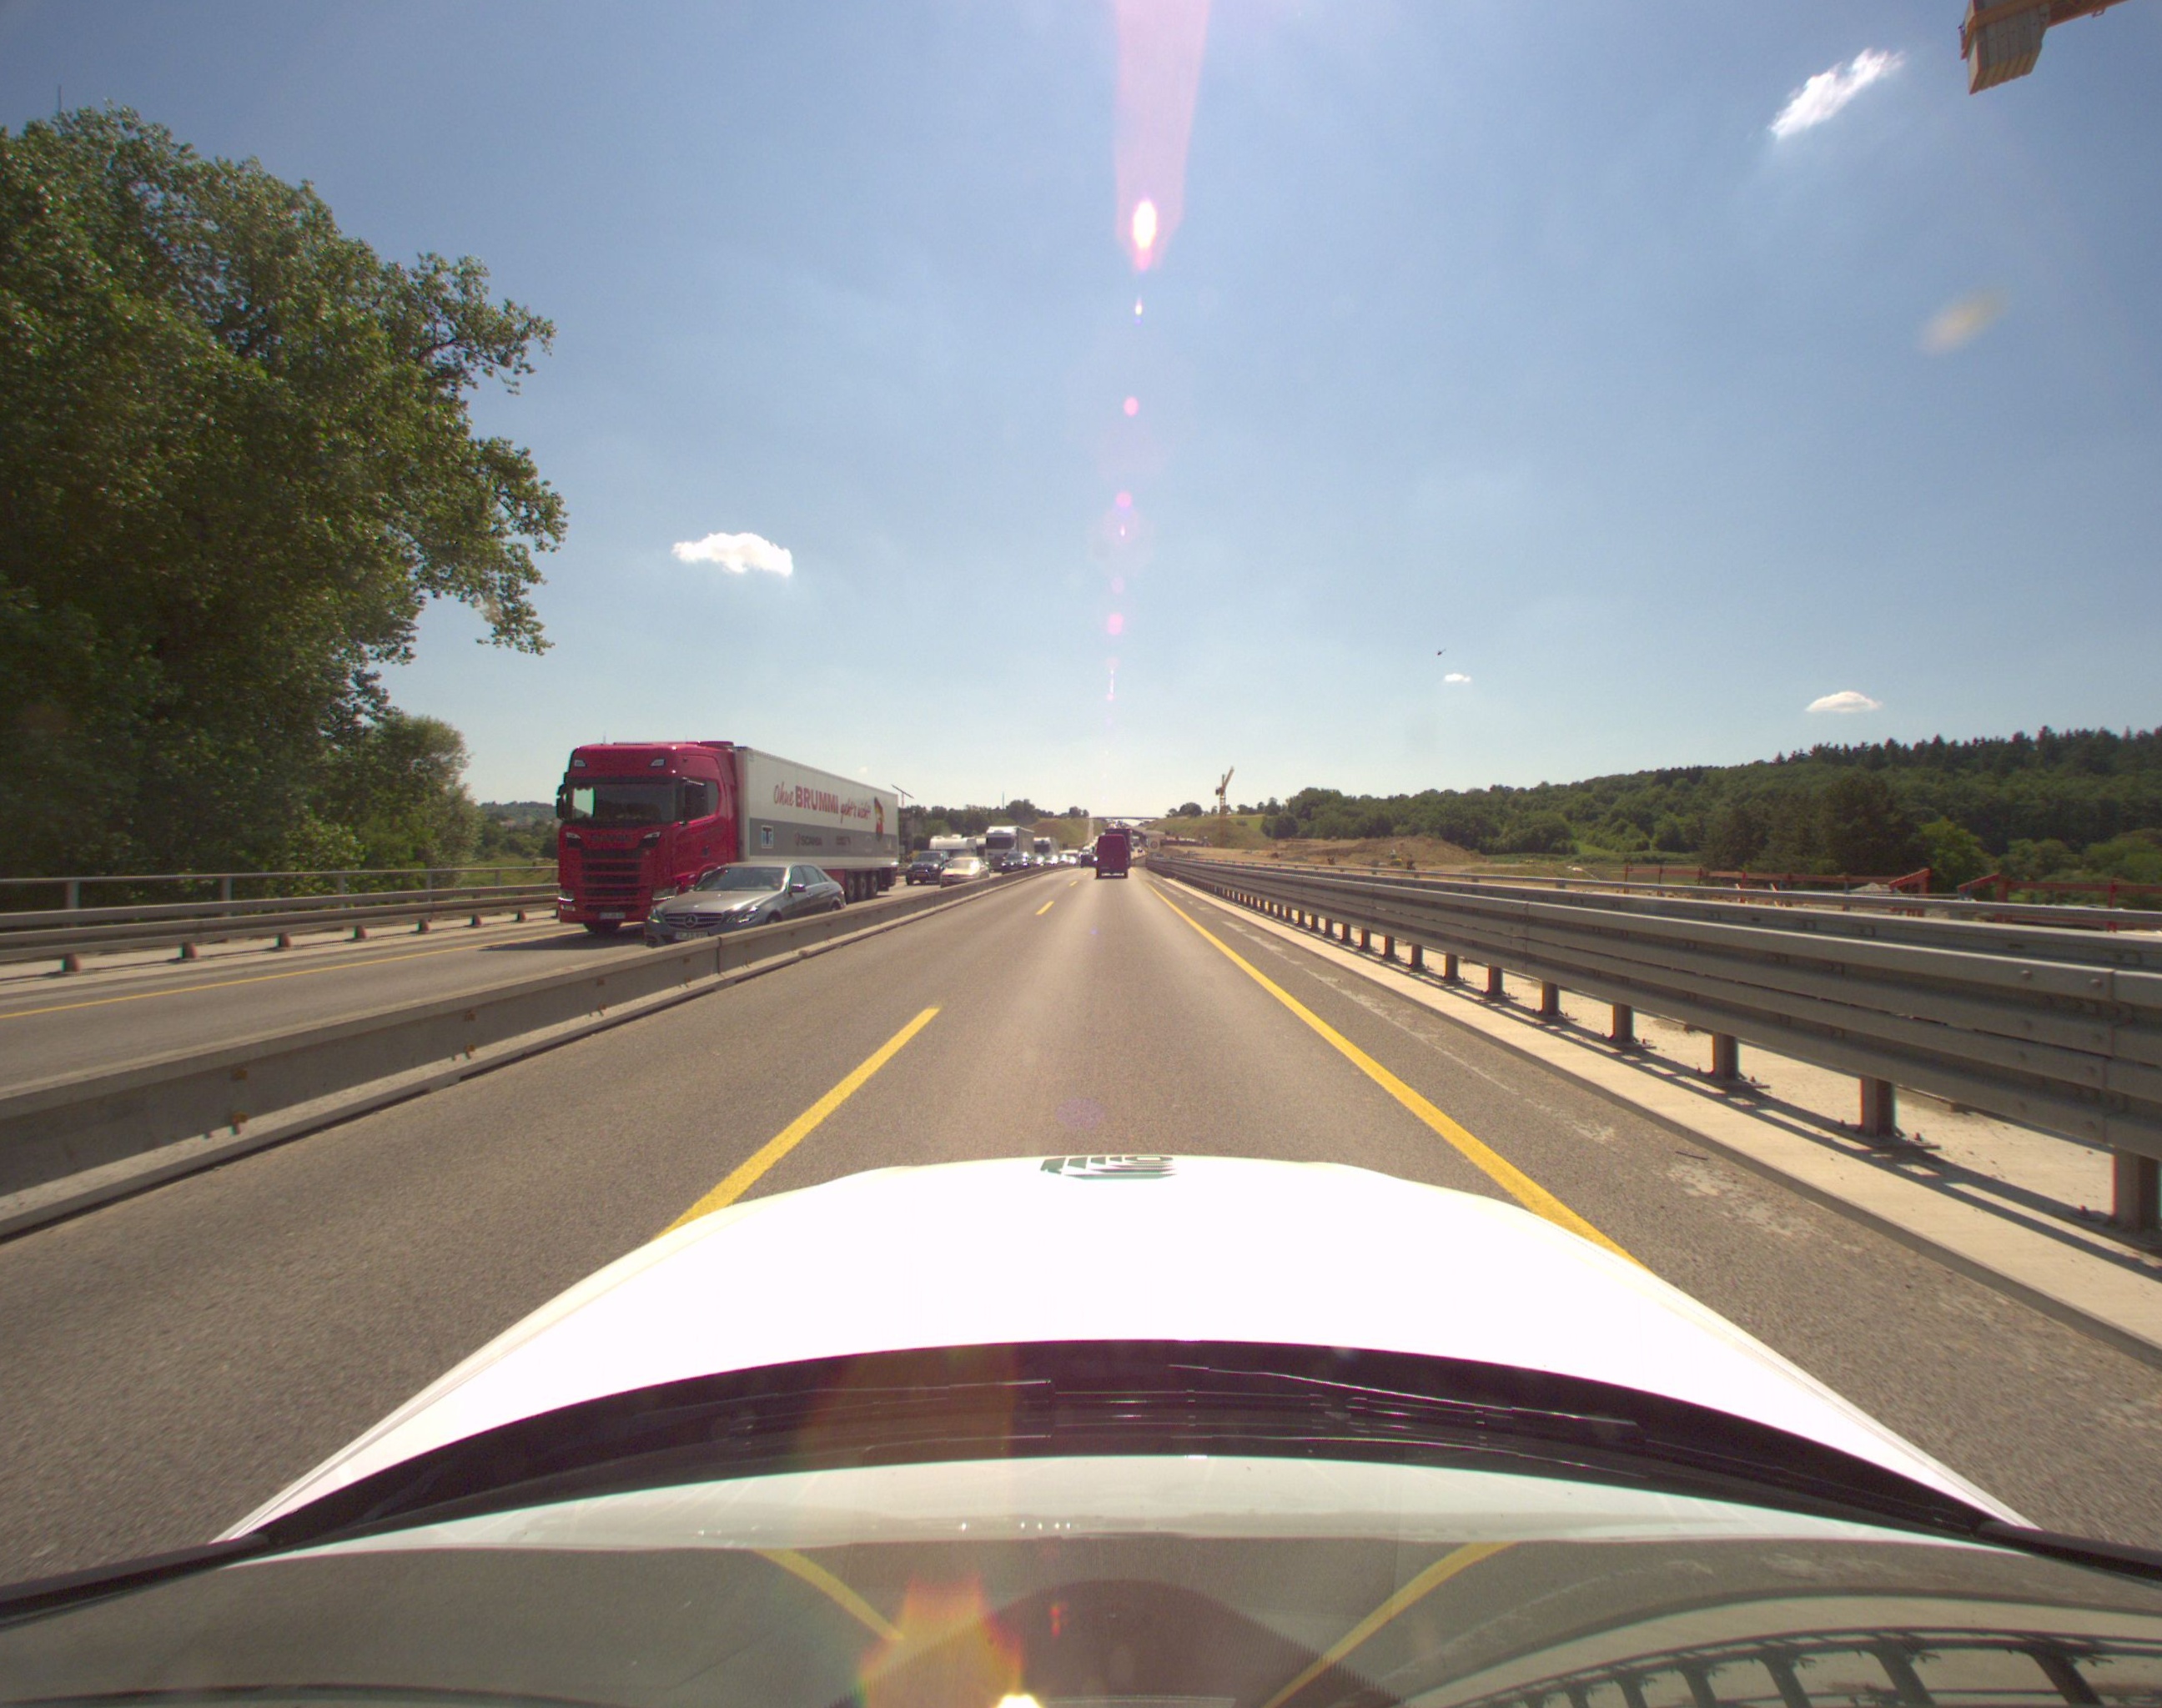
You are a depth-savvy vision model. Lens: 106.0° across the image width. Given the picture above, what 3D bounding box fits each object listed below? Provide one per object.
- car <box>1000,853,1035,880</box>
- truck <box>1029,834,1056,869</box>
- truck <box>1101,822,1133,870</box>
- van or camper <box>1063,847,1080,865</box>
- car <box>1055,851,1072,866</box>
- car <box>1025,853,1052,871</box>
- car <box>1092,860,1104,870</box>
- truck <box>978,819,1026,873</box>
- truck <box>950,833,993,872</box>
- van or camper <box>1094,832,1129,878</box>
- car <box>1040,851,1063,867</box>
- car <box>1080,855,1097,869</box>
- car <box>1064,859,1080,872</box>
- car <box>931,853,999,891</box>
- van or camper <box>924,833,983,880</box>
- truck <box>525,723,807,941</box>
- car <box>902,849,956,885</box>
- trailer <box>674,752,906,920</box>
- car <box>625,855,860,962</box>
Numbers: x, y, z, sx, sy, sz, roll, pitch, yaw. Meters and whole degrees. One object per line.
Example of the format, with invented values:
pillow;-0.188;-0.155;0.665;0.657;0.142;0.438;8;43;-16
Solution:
car;-4.221;0.789;54.666;1.840;1.688;4.620;1;0;2
truck;-4.960;-0.330;106.387;2.795;4.392;6.229;-1;0;3
truck;3.729;-0.797;86.200;3.010;4.693;6.932;-2;0;0
van or camper;-1.274;0.255;113.984;2.211;2.511;6.532;1;0;0
car;-2.117;0.515;97.335;1.750;1.646;4.157;1;0;2
car;-3.532;0.643;68.793;1.770;1.420;4.541;1;0;3
car;2.973;1.913;142.403;2.004;1.545;4.134;1;0;2
truck;-6.845;-0.679;71.674;3.065;4.537;7.109;-1;0;3
truck;-10.914;-0.153;81.728;2.893;3.765;8.372;0;0;2
van or camper;1.834;0.047;50.531;2.022;2.744;4.515;0;0;0
car;-2.927;0.487;82.090;1.858;1.459;4.611;1;0;3
car;0.896;0.898;95.785;2.005;1.545;4.133;0;0;1
car;-1.208;1.450;105.139;1.988;1.498;4.971;1;0;-2
car;-5.144;0.755;36.614;1.891;1.461;4.202;-3;0;7
van or camper;-7.653;0.134;49.442;2.493;2.698;5.248;-1;0;3
truck;-8.827;-0.435;18.419;2.805;4.037;6.526;0;0;2
car;-7.873;0.641;42.636;1.760;1.734;4.794;0;0;2
trailer;-8.543;-0.500;26.249;2.795;4.176;11.805;0;1;2
car;-5.569;0.793;14.238;1.883;1.487;4.922;-2;0;2
